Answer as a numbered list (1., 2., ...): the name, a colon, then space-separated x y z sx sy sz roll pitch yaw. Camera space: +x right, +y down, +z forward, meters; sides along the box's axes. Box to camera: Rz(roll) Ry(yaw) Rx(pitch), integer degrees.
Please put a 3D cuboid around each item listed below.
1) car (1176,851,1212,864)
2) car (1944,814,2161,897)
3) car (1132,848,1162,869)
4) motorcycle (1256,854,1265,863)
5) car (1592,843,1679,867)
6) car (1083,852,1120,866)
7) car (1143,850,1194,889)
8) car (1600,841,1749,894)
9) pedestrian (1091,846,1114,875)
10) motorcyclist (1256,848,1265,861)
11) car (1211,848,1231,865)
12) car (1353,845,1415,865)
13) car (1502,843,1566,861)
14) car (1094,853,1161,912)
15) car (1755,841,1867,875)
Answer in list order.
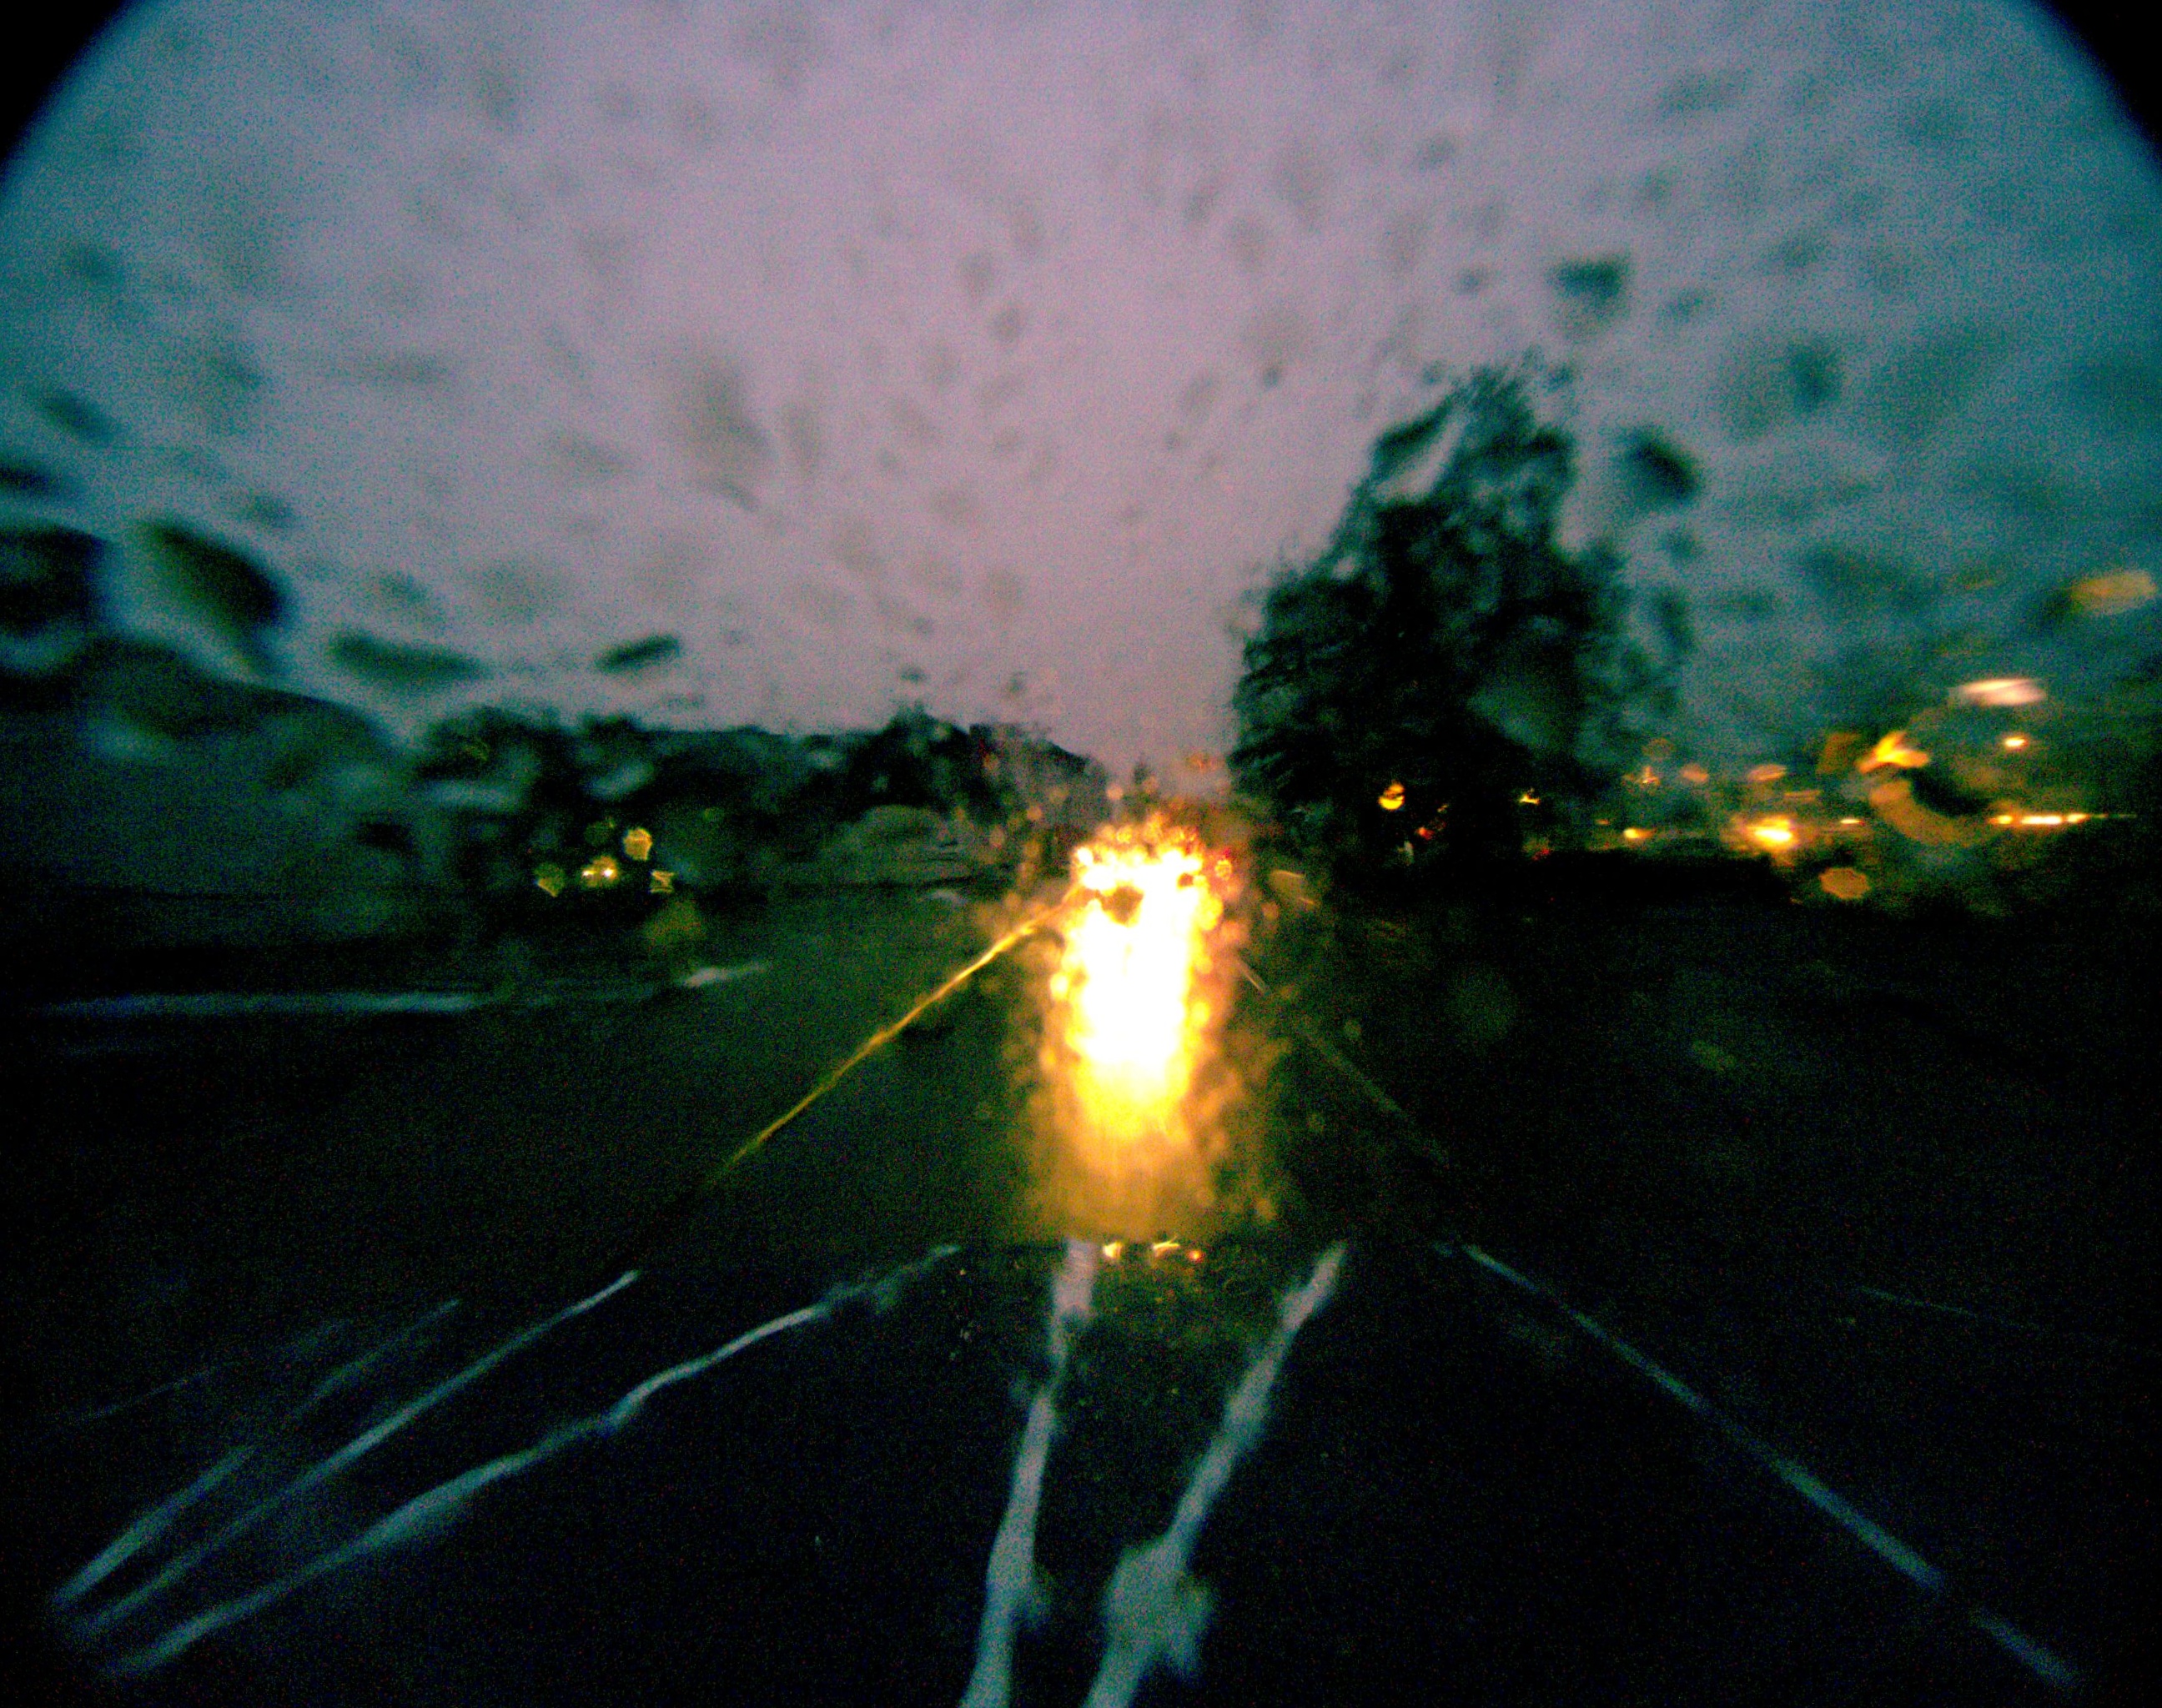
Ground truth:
1. car: 13.235 0.451 89.370 1.781 1.486 4.031 -1 0 -40
2. car: 30.638 0.029 23.385 2.286 2.265 5.271 -3 -1 4
3. car: 5.114 0.336 58.569 1.997 1.464 4.002 -2 0 8
4. motorcycle: 20.835 0.551 88.115 0.867 1.018 2.112 -2 1 14
5. car: 37.989 0.102 52.148 4.440 1.554 2.056 1 0 2
6. car: 2.416 0.602 88.901 4.179 1.432 1.799 -3 -1 8
7. car: 4.387 0.729 37.666 1.896 1.689 4.244 -4 0 14
8. car: 25.100 0.557 32.227 4.659 1.965 2.128 -3 -1 -3
9. pedestrian: 1.420 0.408 50.289 1.256 1.855 1.304 1 1 11
10. motorcyclist: 20.813 0.053 88.091 0.867 1.476 0.910 -2 1 15
11. car: 15.183 0.254 82.394 1.774 1.713 4.426 -1 0 15
12. car: 27.235 0.085 68.457 4.781 1.702 2.033 -1 0 1
13. car: 39.940 -0.146 67.097 4.440 1.554 2.056 1 0 2
14. car: 1.526 0.798 23.508 1.775 1.632 4.423 -1 0 7
15. car: 37.997 0.247 39.707 1.917 1.607 4.000 -2 -1 -1
